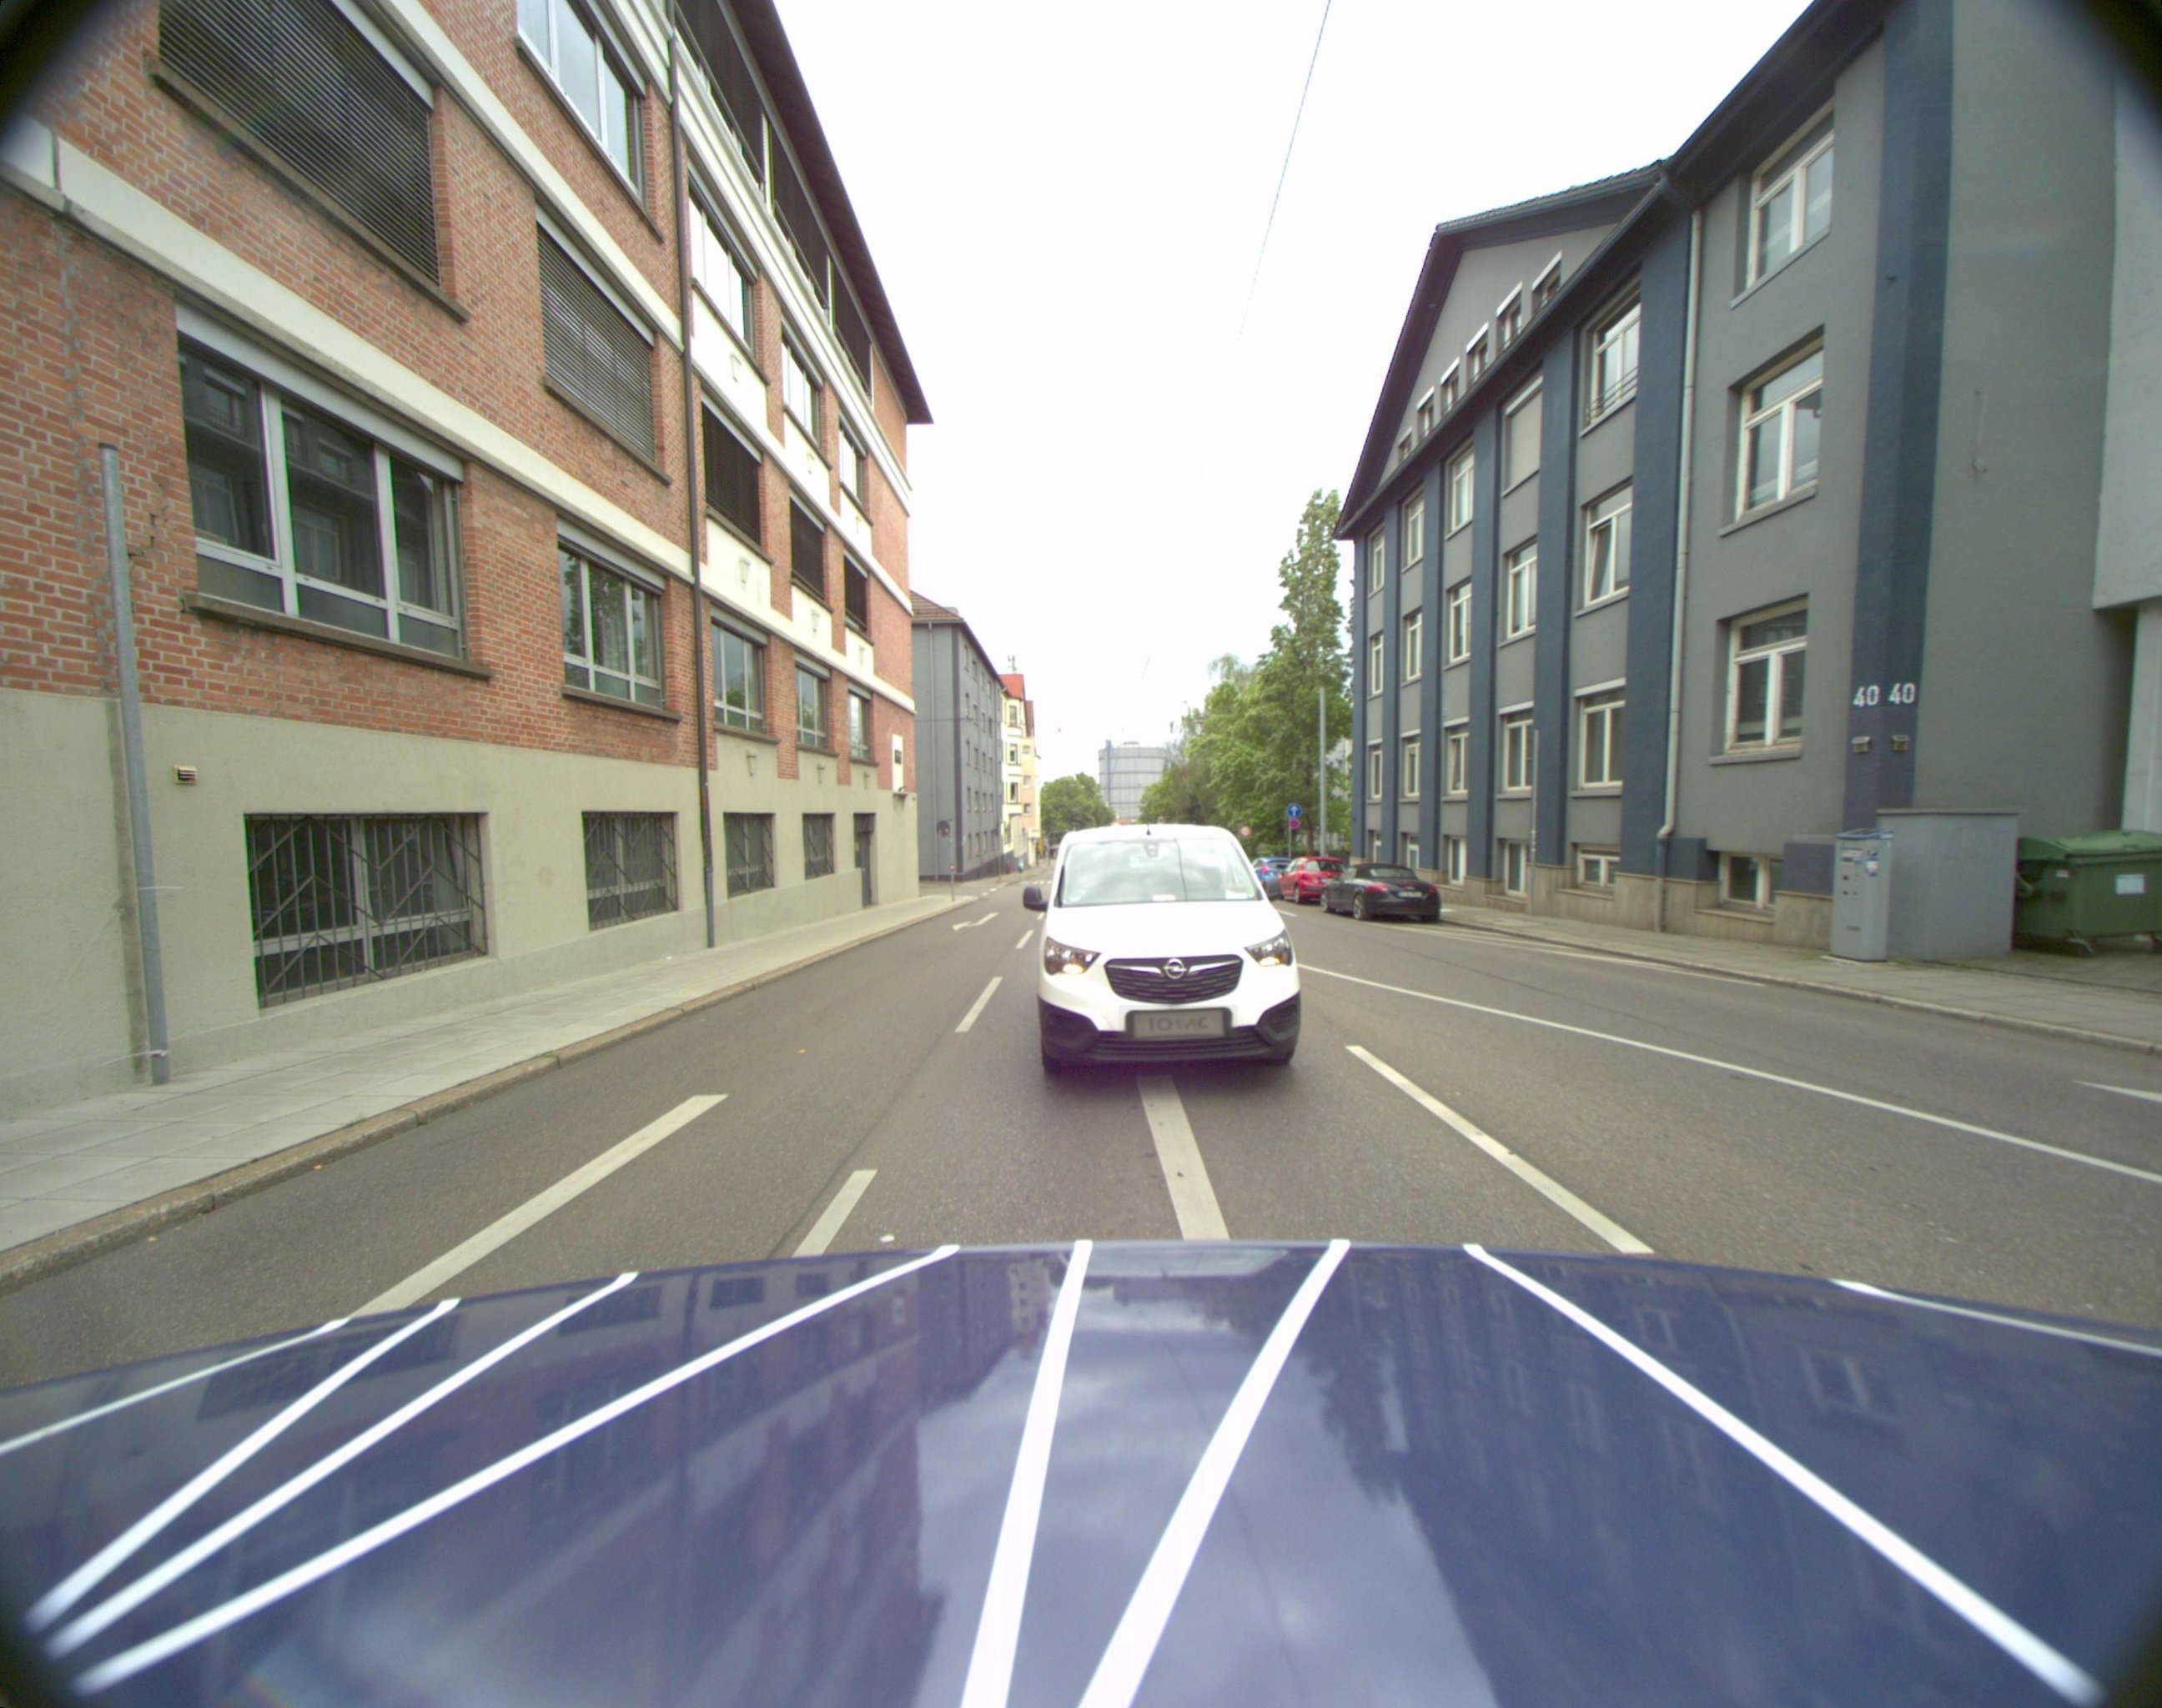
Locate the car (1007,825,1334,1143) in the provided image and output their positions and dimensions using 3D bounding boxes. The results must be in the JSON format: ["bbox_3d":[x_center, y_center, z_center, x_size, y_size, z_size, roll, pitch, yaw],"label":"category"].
[{"bbox_3d":[0.571,0.756,6.921,1.840,1.797,4.939,-2,0,1],"label":"car"}]

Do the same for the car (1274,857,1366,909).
[{"bbox_3d":[7.517,0.854,24.304,1.819,1.465,3.869,2,0,2],"label":"car"}]

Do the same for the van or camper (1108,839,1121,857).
[{"bbox_3d":[5.236,-0.998,119.937,1.914,2.754,5.925,1,0,2],"label":"van or camper"}]

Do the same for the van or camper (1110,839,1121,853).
[{"bbox_3d":[6.788,-1.528,149.786,1.914,2.754,5.925,1,0,2],"label":"van or camper"}]

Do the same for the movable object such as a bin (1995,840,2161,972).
[{"bbox_3d":[12.093,0.595,9.107,1.267,1.448,0.784,-3,2,4],"label":"movable object such as a bin"}]

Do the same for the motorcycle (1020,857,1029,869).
[{"bbox_3d":[-5.052,0.805,68.413,0.566,1.105,1.653,4,0,2],"label":"motorcycle"}]

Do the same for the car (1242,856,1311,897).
[{"bbox_3d":[7.581,0.839,29.776,1.724,1.445,3.727,1,0,0],"label":"car"}]

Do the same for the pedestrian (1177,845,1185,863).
[{"bbox_3d":[10.222,-0.007,77.816,0.746,1.839,0.776,-1,1,2],"label":"pedestrian"}]

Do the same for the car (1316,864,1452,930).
[{"bbox_3d":[7.203,0.954,18.522,1.724,1.319,4.041,2,0,1],"label":"car"}]

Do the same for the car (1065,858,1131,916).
[{"bbox_3d":[0.508,0.868,21.904,1.724,1.486,3.727,1,0,2],"label":"car"}]

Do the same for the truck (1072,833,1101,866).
[{"bbox_3d":[0.711,-0.492,85.804,2.980,3.394,9.358,-2,0,1],"label":"truck"}]

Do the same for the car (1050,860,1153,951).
[{"bbox_3d":[0.403,0.886,14.773,1.724,1.486,3.727,1,0,2],"label":"car"}]
